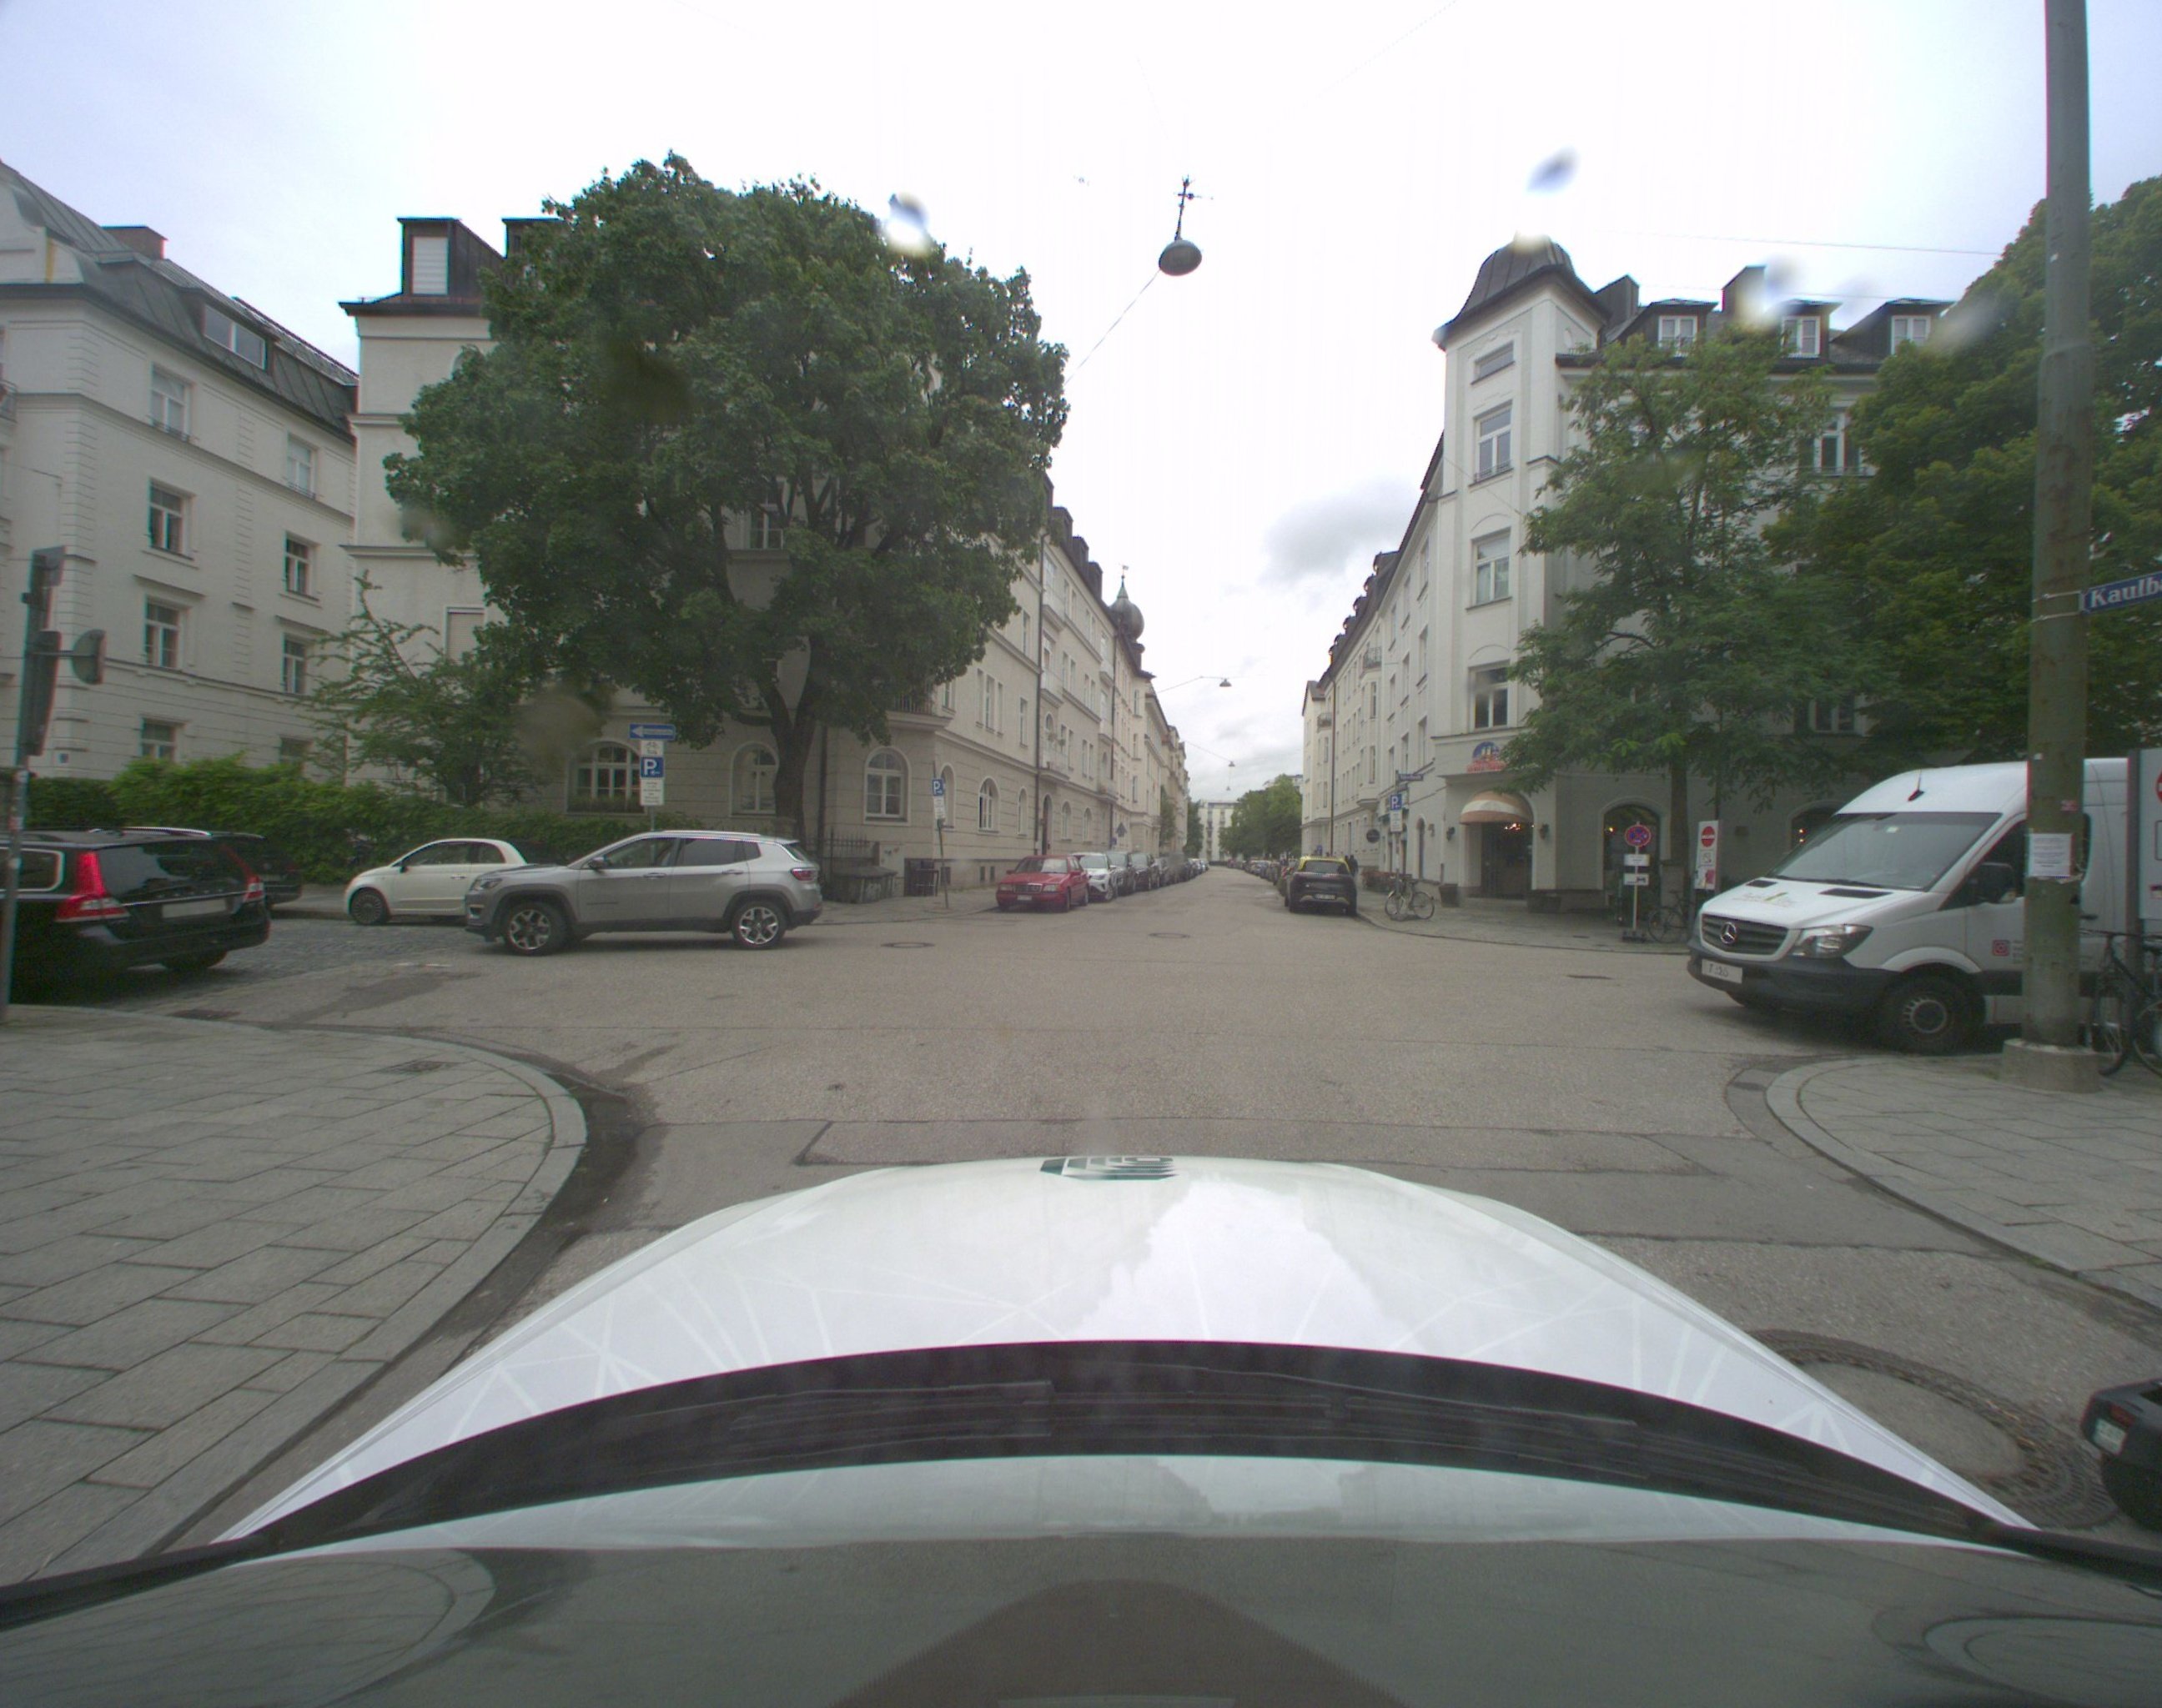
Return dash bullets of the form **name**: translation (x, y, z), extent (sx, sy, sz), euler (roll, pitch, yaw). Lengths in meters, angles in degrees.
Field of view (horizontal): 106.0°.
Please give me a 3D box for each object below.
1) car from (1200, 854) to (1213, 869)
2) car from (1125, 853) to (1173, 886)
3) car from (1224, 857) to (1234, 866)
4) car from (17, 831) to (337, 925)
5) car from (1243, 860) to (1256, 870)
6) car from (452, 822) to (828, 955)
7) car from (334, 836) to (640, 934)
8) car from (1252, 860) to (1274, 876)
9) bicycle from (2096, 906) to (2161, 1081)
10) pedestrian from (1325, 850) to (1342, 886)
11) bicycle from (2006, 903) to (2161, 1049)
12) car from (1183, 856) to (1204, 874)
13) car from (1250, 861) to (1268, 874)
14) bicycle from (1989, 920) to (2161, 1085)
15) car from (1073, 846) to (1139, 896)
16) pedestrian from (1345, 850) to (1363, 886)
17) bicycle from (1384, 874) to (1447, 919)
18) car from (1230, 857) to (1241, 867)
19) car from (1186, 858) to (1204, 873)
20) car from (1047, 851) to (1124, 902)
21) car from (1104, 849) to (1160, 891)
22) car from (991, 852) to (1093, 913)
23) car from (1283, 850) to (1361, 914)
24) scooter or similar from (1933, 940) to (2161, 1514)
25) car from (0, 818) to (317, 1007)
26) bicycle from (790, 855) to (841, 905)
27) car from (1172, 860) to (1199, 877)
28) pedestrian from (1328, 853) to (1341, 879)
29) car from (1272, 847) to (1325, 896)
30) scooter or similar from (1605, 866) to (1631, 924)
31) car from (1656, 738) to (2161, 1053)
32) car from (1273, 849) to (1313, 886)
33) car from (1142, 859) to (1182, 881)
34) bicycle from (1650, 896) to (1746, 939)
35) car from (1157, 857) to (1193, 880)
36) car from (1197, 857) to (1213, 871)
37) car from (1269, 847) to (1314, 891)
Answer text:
- **car**: translation (18.410, 1.088, 119.605), extent (1.835, 2.013, 4.011), euler (1, 0, 10)
- **car**: translation (3.552, 0.741, 41.769), extent (1.913, 1.546, 4.014), euler (1, 0, 12)
- **car**: translation (33.996, 1.776, 186.675), extent (1.982, 1.982, 4.904), euler (2, 0, 8)
- **car**: translation (-15.936, 0.395, 14.484), extent (3.969, 1.473, 1.654), euler (1, 0, 4)
- **car**: translation (28.397, 1.814, 137.017), extent (1.938, 1.652, 4.010), euler (0, 0, 9)
- **car**: translation (-5.834, 0.439, 11.454), extent (4.307, 1.607, 1.952), euler (1, 0, -18)
- **car**: translation (-9.985, 0.490, 13.874), extent (3.970, 1.449, 1.687), euler (2, 0, 3)
- **car**: translation (18.233, 1.380, 81.651), extent (1.895, 1.576, 4.010), euler (1, 0, 9)
- **bicycle**: translation (8.060, 0.949, 5.385), extent (1.893, 1.127, 0.592), euler (1, 0, 2)
- **pedestrian**: translation (13.410, 0.745, 43.259), extent (0.773, 1.851, 1.026), euler (1, 0, 12)
- **bicycle**: translation (8.188, 0.948, 6.398), extent (1.499, 1.071, 0.370), euler (1, 0, -3)
- **car**: translation (10.412, 1.029, 75.150), extent (1.810, 1.574, 4.010), euler (1, 0, 9)
- **car**: translation (20.149, 1.516, 92.238), extent (1.719, 1.417, 3.862), euler (1, 0, 9)
- **bicycle**: translation (7.478, 1.077, 5.980), extent (1.173, 1.127, 0.340), euler (1, 0, 4)
- **car**: translation (1.014, 0.597, 30.486), extent (1.982, 1.676, 4.021), euler (1, 0, 8)
- **pedestrian**: translation (14.227, 0.738, 42.476), extent (0.773, 1.851, 1.026), euler (1, 0, 12)
- **bicycle**: translation (8.350, 1.046, 20.418), extent (0.539, 0.999, 1.748), euler (-2, 1, -12)
- **car**: translation (33.292, 1.745, 175.916), extent (1.982, 1.982, 4.904), euler (2, 0, 8)
- **car**: translation (11.360, 1.163, 81.051), extent (1.724, 1.419, 4.009), euler (1, 0, 8)
- **car**: translation (0.245, 0.661, 25.944), extent (1.983, 1.473, 4.226), euler (1, 0, 6)
- **car**: translation (2.306, 0.669, 35.446), extent (1.982, 1.676, 4.300), euler (1, 0, 9)
- **car**: translation (-0.878, 0.674, 21.056), extent (1.720, 1.378, 4.238), euler (1, 0, 10)
- **car**: translation (7.118, 0.772, 24.434), extent (1.808, 1.636, 4.302), euler (3, 0, 11)
- **scooter or similar**: translation (2.987, 0.851, 2.005), extent (1.348, 1.210, 0.417), euler (1, 0, -1)
- **car**: translation (-10.601, 0.460, 7.995), extent (4.320, 1.515, 1.904), euler (2, 4, 0)
- **bicycle**: translation (-6.211, 0.576, 19.130), extent (0.491, 1.052, 1.829), euler (1, 2, 3)
- **car**: translation (8.205, 1.081, 63.746), extent (1.894, 1.222, 4.012), euler (1, 0, 10)
- **pedestrian**: translation (18.010, 0.839, 57.859), extent (0.772, 1.851, 0.863), euler (1, 0, 19)
- **car**: translation (9.146, 0.702, 34.507), extent (1.808, 1.871, 4.302), euler (3, 0, 11)
- **scooter or similar**: translation (12.531, 0.931, 18.989), extent (0.423, 1.279, 1.287), euler (2, 2, 36)
- **car**: translation (9.248, 0.355, 7.827), extent (5.870, 2.591, 2.061), euler (1, 1, 2)
- **car**: translation (11.547, 0.721, 44.483), extent (1.980, 1.856, 4.361), euler (2, 0, 13)
- **car**: translation (4.771, 0.905, 47.523), extent (1.894, 1.222, 4.013), euler (1, 0, 12)
- **bicycle**: translation (12.024, 1.227, 15.906), extent (1.402, 0.783, 0.547), euler (0, -1, 20)
- **car**: translation (6.062, 0.902, 52.138), extent (1.894, 1.329, 4.013), euler (1, 0, 12)
- **car**: translation (15.507, 1.237, 101.941), extent (1.982, 1.574, 4.010), euler (1, 0, 9)
- **car**: translation (10.231, 0.689, 39.812), extent (1.808, 1.923, 4.196), euler (3, 0, 11)
